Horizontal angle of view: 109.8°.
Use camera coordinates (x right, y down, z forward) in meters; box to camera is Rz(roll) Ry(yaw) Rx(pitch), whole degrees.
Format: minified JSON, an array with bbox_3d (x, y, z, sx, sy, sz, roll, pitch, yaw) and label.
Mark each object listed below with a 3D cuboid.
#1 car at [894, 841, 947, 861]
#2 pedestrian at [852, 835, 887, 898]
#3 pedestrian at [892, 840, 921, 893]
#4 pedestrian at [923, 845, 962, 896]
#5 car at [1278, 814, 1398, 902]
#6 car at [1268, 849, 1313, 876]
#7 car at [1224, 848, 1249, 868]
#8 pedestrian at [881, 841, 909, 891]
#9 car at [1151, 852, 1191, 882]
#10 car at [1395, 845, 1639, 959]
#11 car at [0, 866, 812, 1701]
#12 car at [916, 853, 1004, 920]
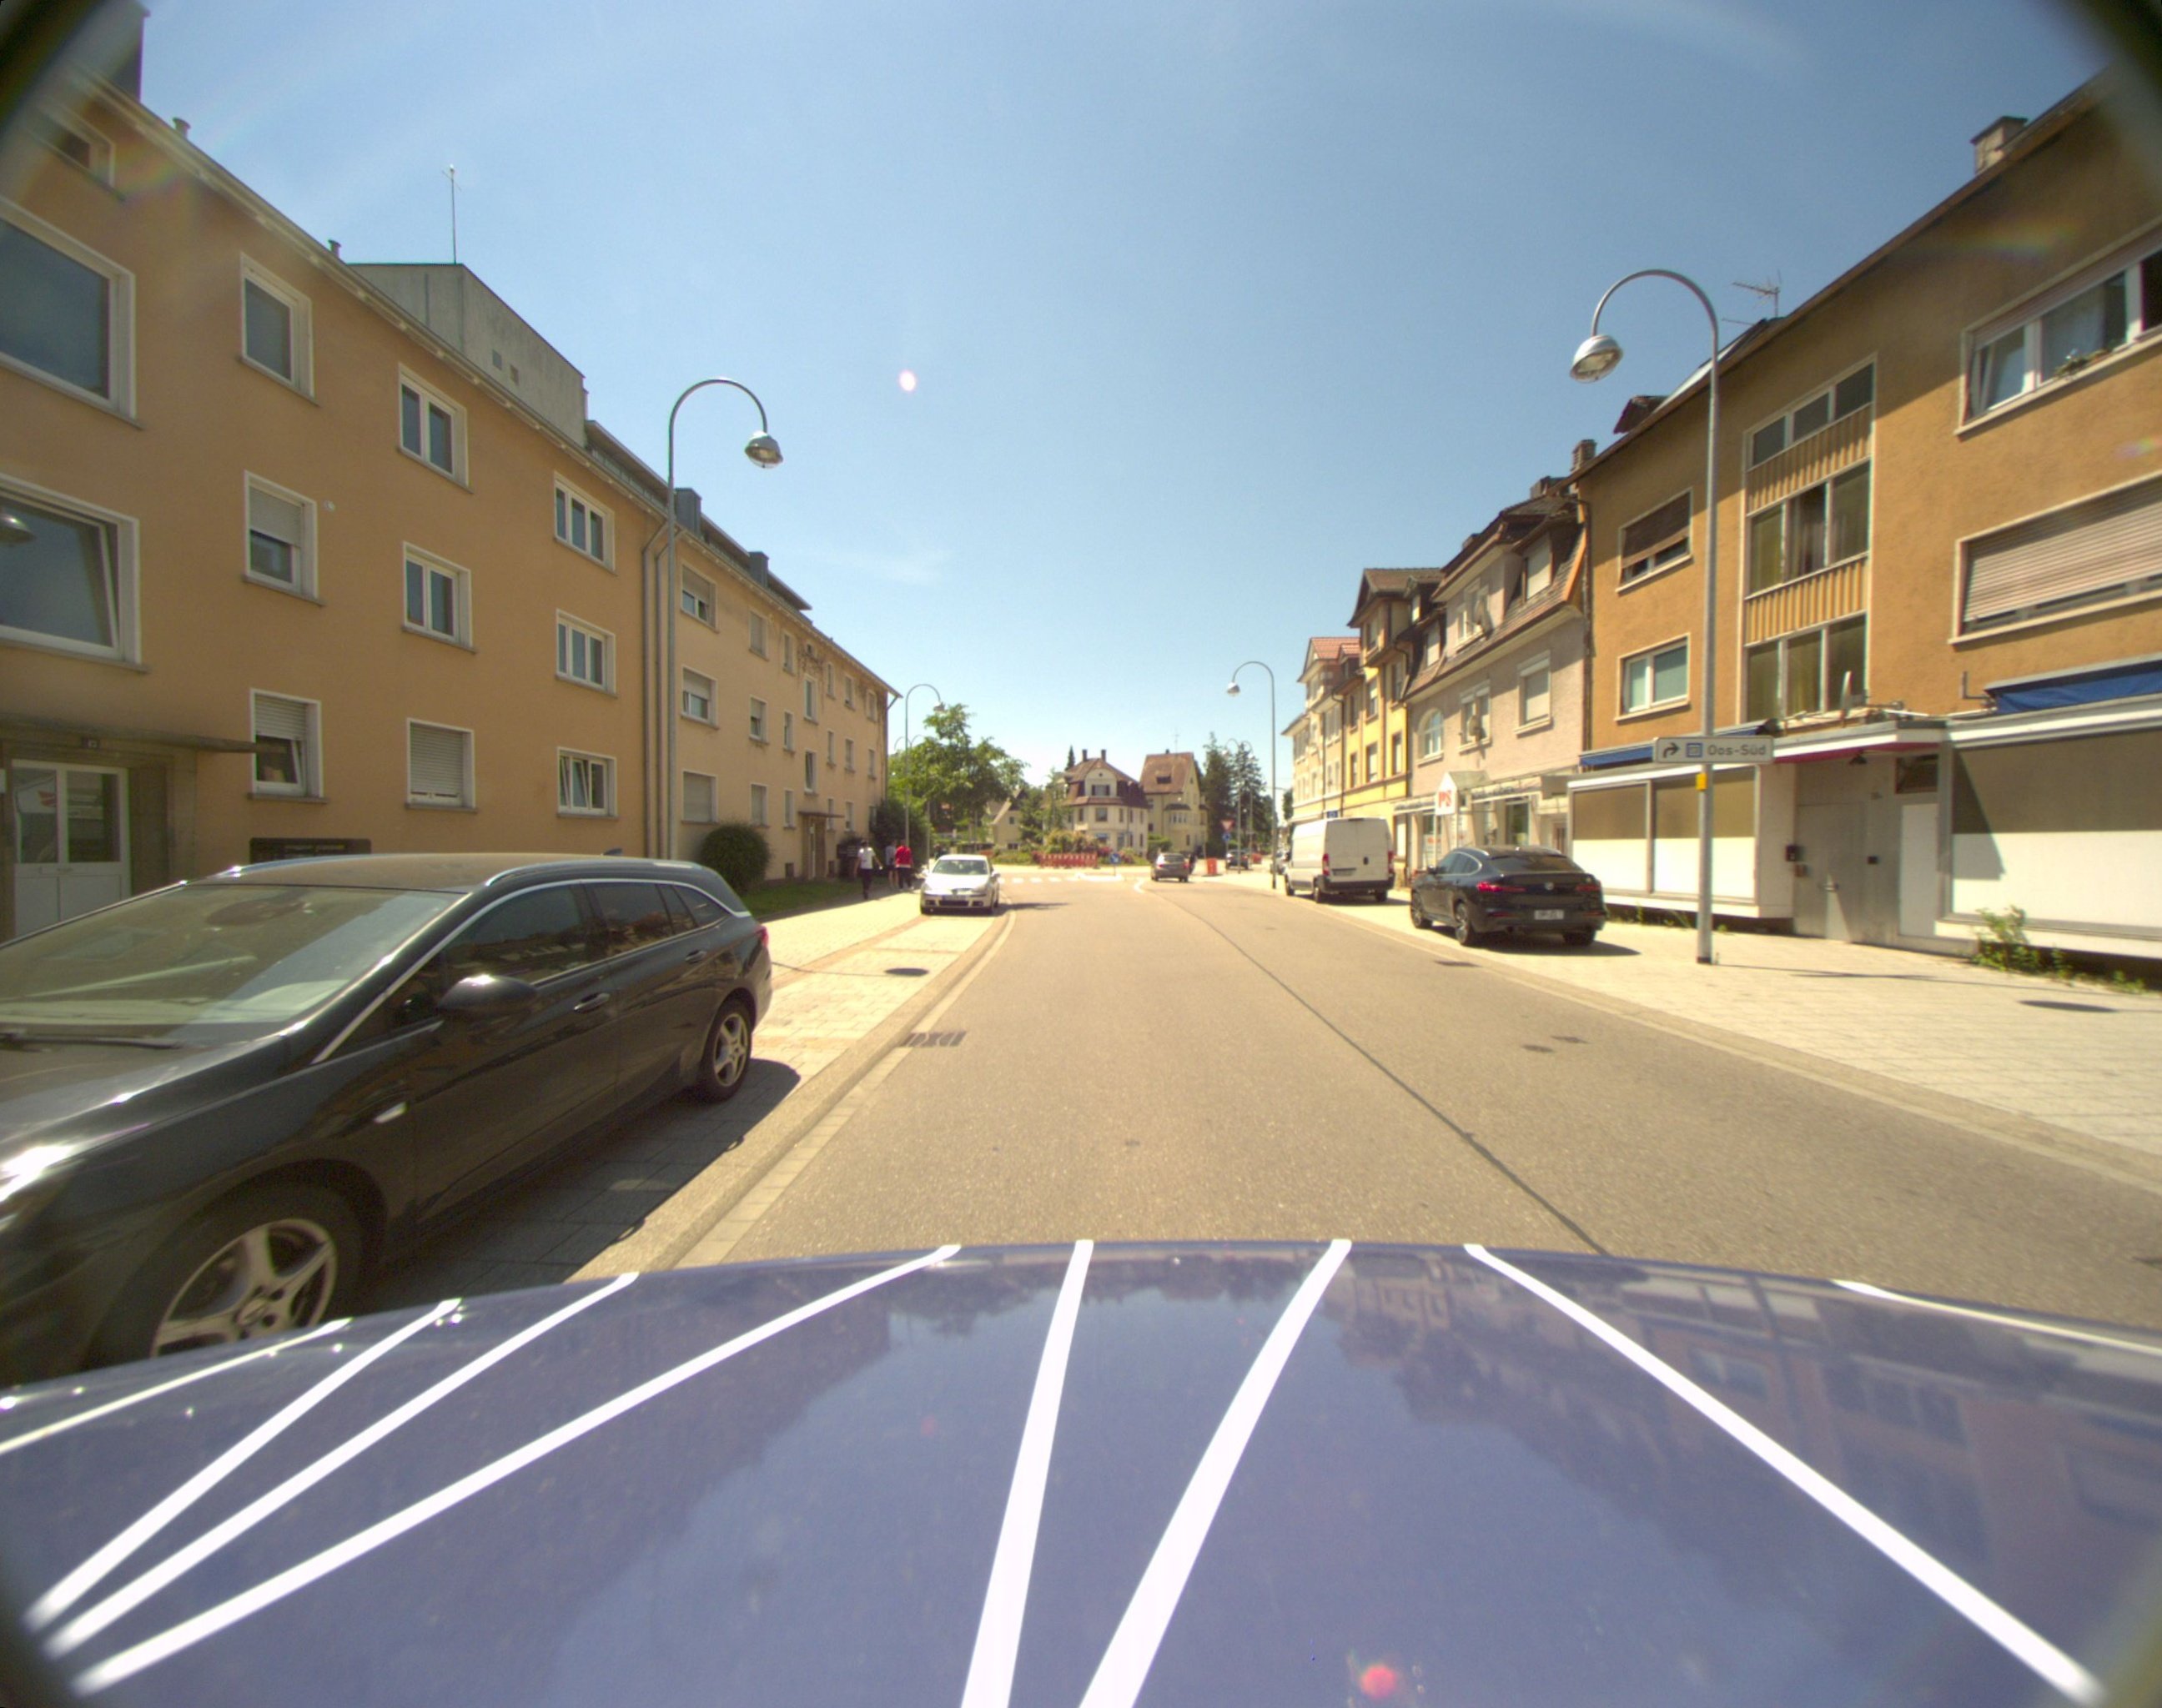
[{"bbox_3d":[-13.998,-0.300,66.413,1.994,1.727,4.576,1,1,31],"label":"car"},{"bbox_3d":[-6.401,0.370,23.037,0.822,1.843,0.984,0,1,-3],"label":"pedestrian"},{"bbox_3d":[-6.071,0.430,26.506,0.790,1.801,1.005,2,1,-3],"label":"pedestrian"},{"bbox_3d":[-4.930,0.581,27.158,1.174,1.723,1.190,2,2,-4],"label":"pedestrian"},{"bbox_3d":[8.049,0.080,24.549,2.124,2.435,6.118,-2,1,4],"label":"car"},{"bbox_3d":[12.691,0.478,46.390,1.798,1.494,4.948,-1,0,5],"label":"car"},{"bbox_3d":[12.699,0.294,62.007,1.798,1.481,4.394,-1,2,14],"label":"car"},{"bbox_3d":[-6.733,0.408,27.488,0.796,1.768,1.008,0,1,-3],"label":"pedestrian"},{"bbox_3d":[4.597,0.623,39.113,1.735,1.403,4.001,1,0,3],"label":"car"},{"bbox_3d":[7.274,0.693,13.429,2.089,1.605,5.112,-2,0,10],"label":"car"},{"bbox_3d":[-3.014,0.883,3.291,1.838,1.495,5.063,2,0,0],"label":"car"},{"bbox_3d":[-3.063,0.758,20.048,1.818,1.468,4.504,1,1,-3],"label":"car"}]
